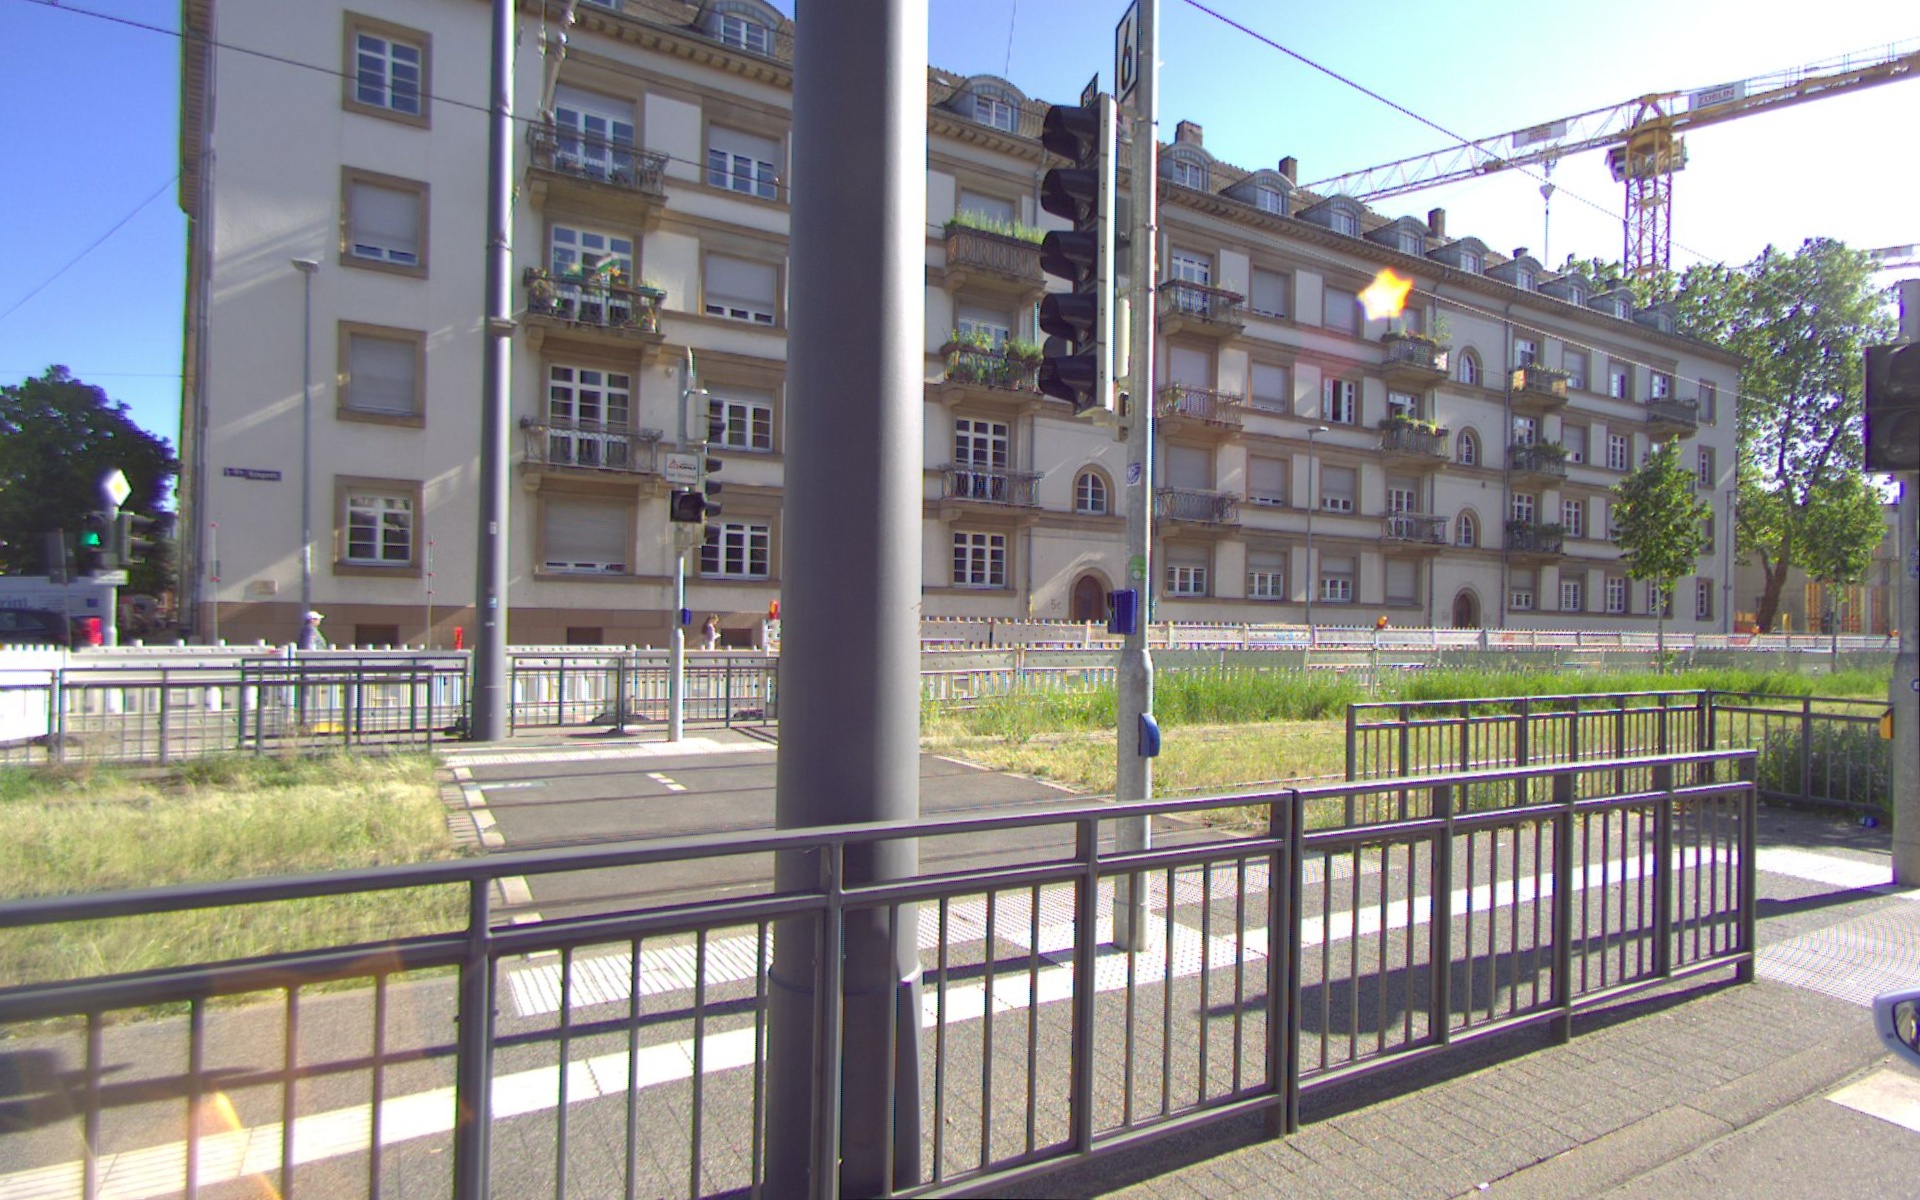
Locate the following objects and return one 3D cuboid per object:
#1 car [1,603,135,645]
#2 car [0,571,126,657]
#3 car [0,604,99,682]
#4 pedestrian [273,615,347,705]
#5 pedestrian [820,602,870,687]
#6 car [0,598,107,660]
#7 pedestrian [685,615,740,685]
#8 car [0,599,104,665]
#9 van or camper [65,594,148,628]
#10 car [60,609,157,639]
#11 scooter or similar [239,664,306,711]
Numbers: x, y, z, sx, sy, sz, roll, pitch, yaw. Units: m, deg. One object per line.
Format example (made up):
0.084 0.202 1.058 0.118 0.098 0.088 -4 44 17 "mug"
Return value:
-36.641 1.014 41.412 3.966 1.576 1.848 3 -1 -39 "car"
-28.511 0.370 29.773 5.710 2.487 1.977 3 -1 -40 "car"
-21.954 0.929 22.361 3.959 1.661 1.851 3 0 -34 "car"
-11.372 1.040 17.589 0.697 1.524 0.807 1 -1 10 "pedestrian"
-2.662 1.021 23.182 0.861 1.888 0.763 2 0 -30 "pedestrian"
-26.661 0.792 28.211 3.965 1.661 1.849 3 -1 -38 "car"
-5.689 1.150 23.084 1.009 1.538 0.783 2 0 -30 "pedestrian"
-25.283 0.832 26.501 3.965 1.661 1.849 3 -1 -38 "car"
-59.613 0.791 70.277 4.311 2.244 1.930 3 -1 -40 "van or camper"
-46.468 1.325 54.911 3.967 1.448 1.758 3 -1 -40 "car"
-11.543 1.465 16.875 0.697 0.729 0.608 1 -1 10 "scooter or similar"
